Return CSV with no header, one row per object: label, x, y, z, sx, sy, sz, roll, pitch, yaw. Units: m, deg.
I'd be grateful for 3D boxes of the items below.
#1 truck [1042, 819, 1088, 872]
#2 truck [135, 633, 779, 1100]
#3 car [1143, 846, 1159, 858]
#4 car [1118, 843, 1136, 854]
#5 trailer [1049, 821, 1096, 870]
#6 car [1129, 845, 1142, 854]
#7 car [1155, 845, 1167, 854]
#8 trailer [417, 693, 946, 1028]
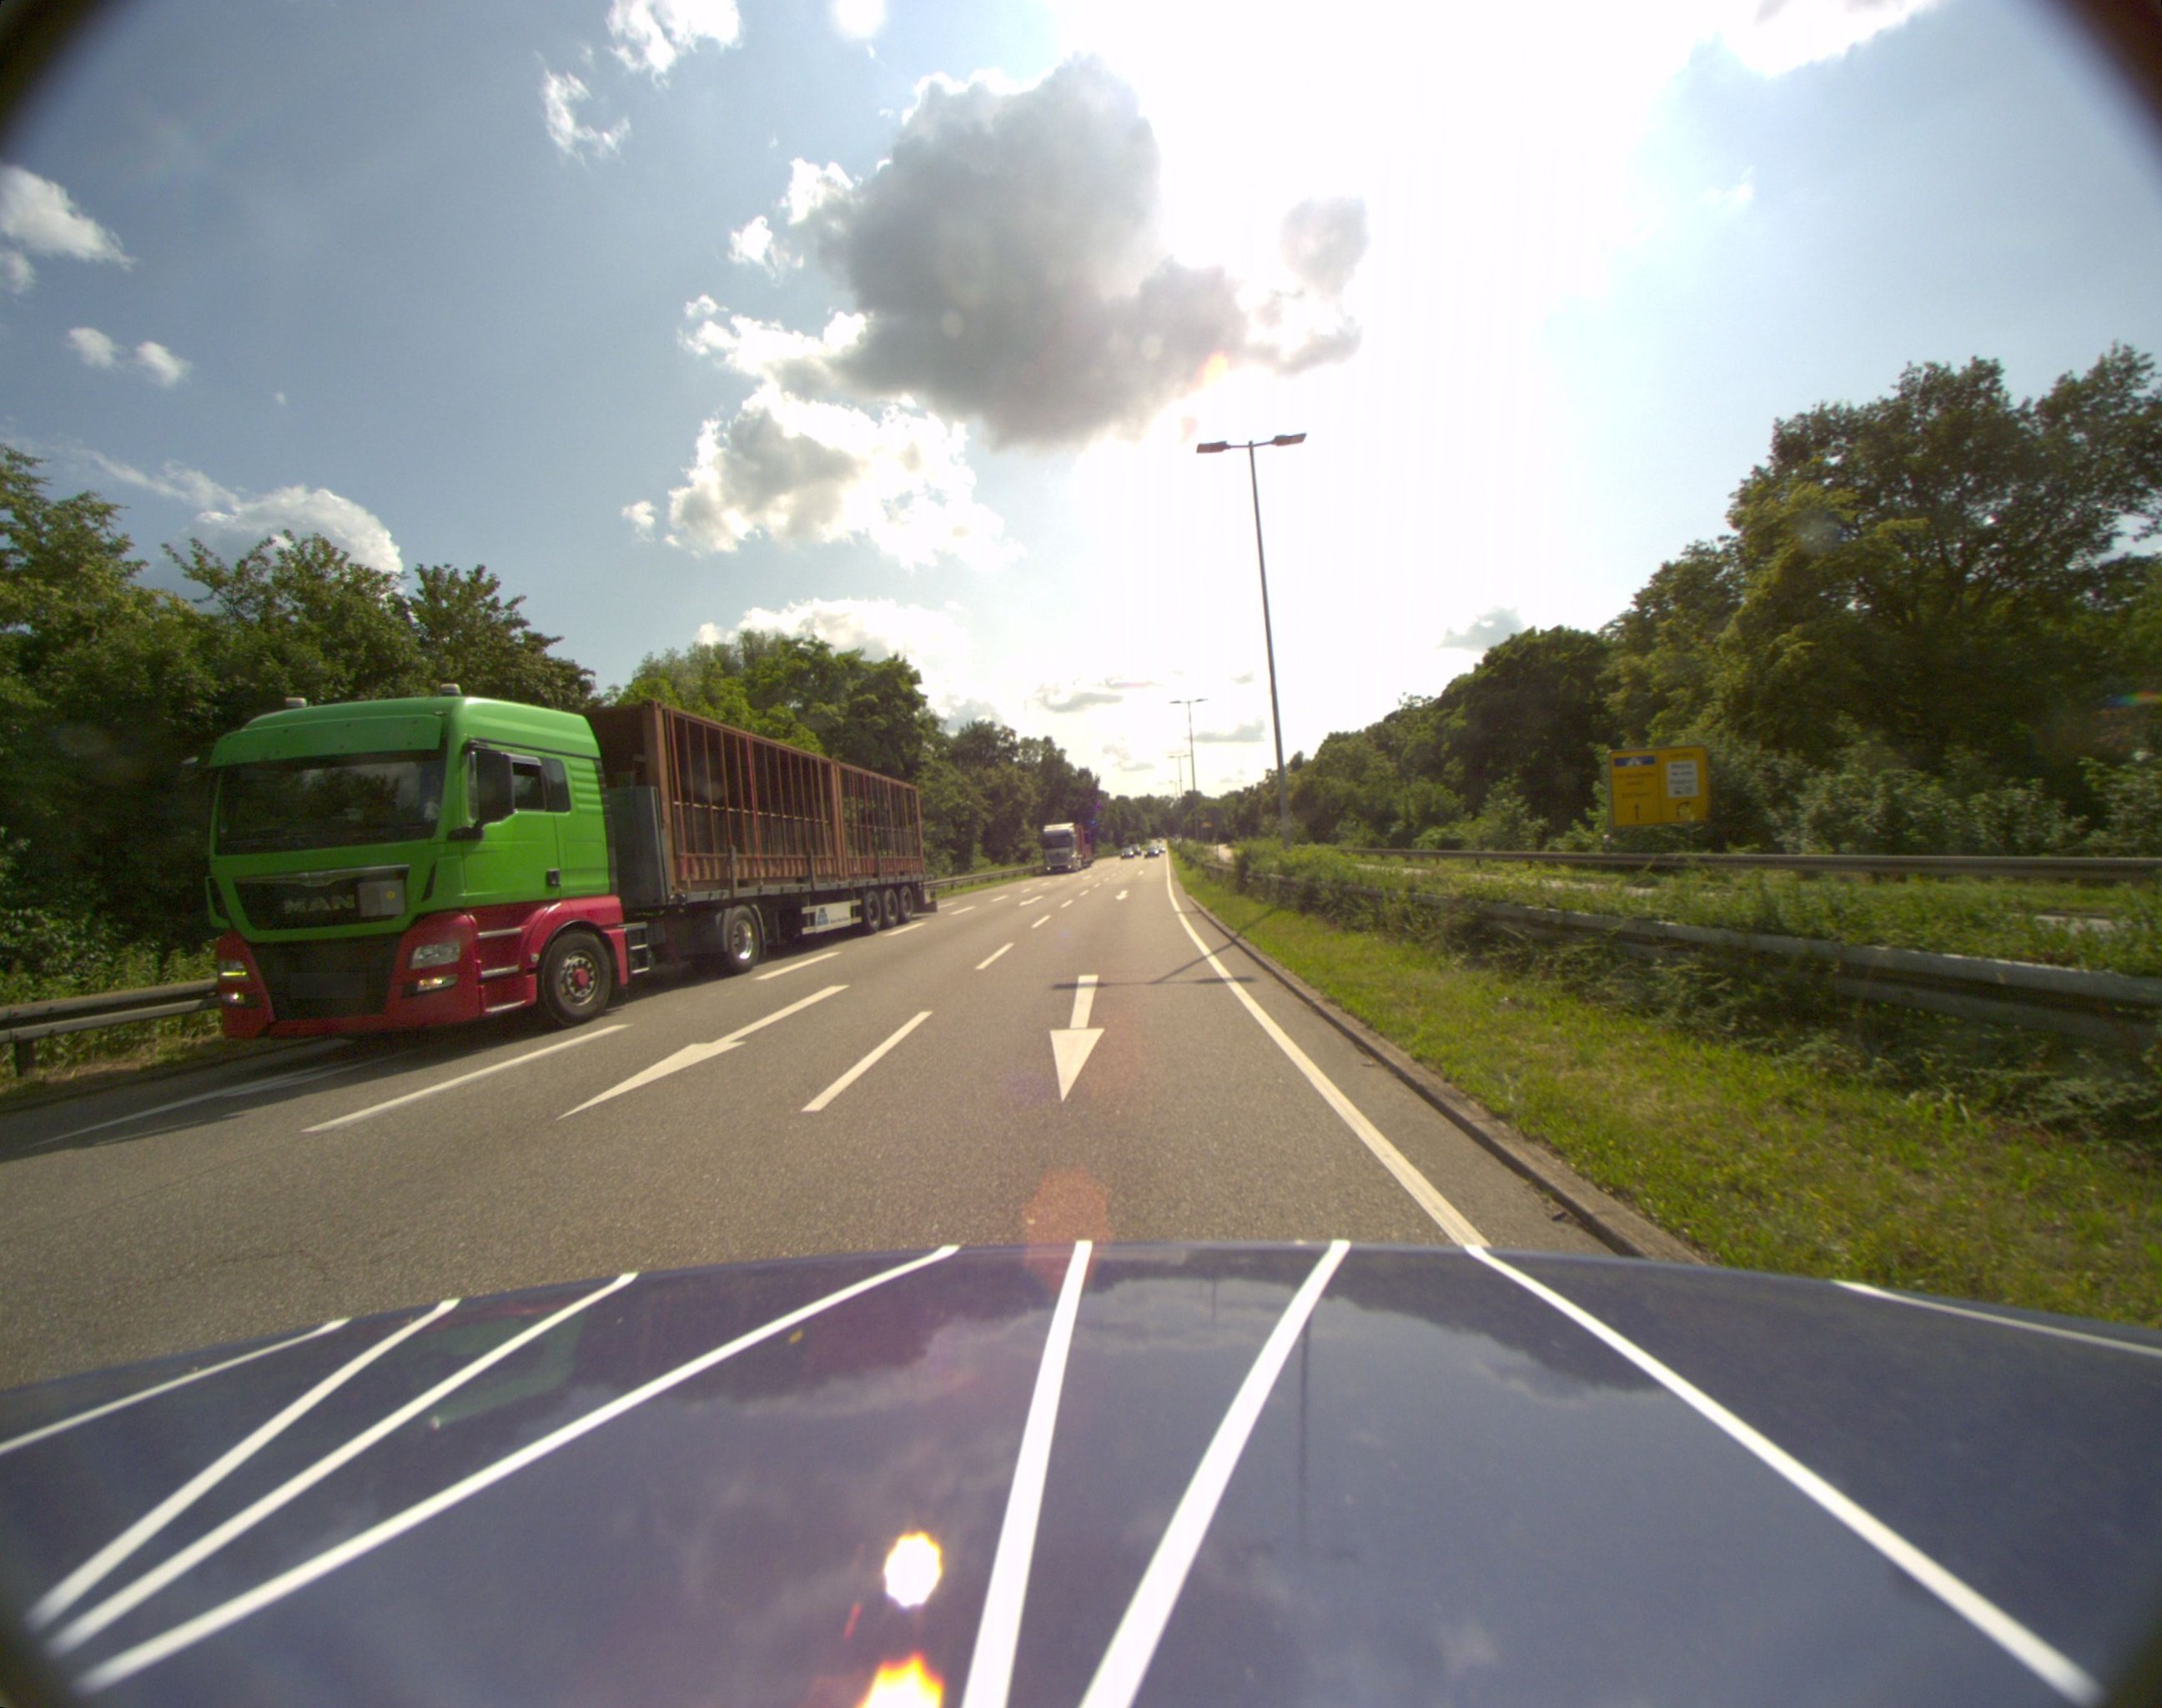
truck,-1.241,-0.698,63.756,2.690,3.948,7.386,-5,0,6
truck,-6.667,0.128,9.644,2.590,3.871,6.063,-5,0,4
car,8.806,-0.289,94.753,1.796,1.368,4.002,-3,0,7
car,6.258,-0.787,103.346,1.997,1.330,4.002,-3,0,8
trailer,-0.583,-0.762,70.491,2.694,3.948,12.396,-5,0,6
car,8.734,-0.661,121.168,1.998,1.330,4.001,-3,0,5
car,13.252,-0.814,125.821,1.796,1.368,4.002,-3,0,7
trailer,-6.163,0.074,16.471,2.590,3.871,14.505,-5,0,4
